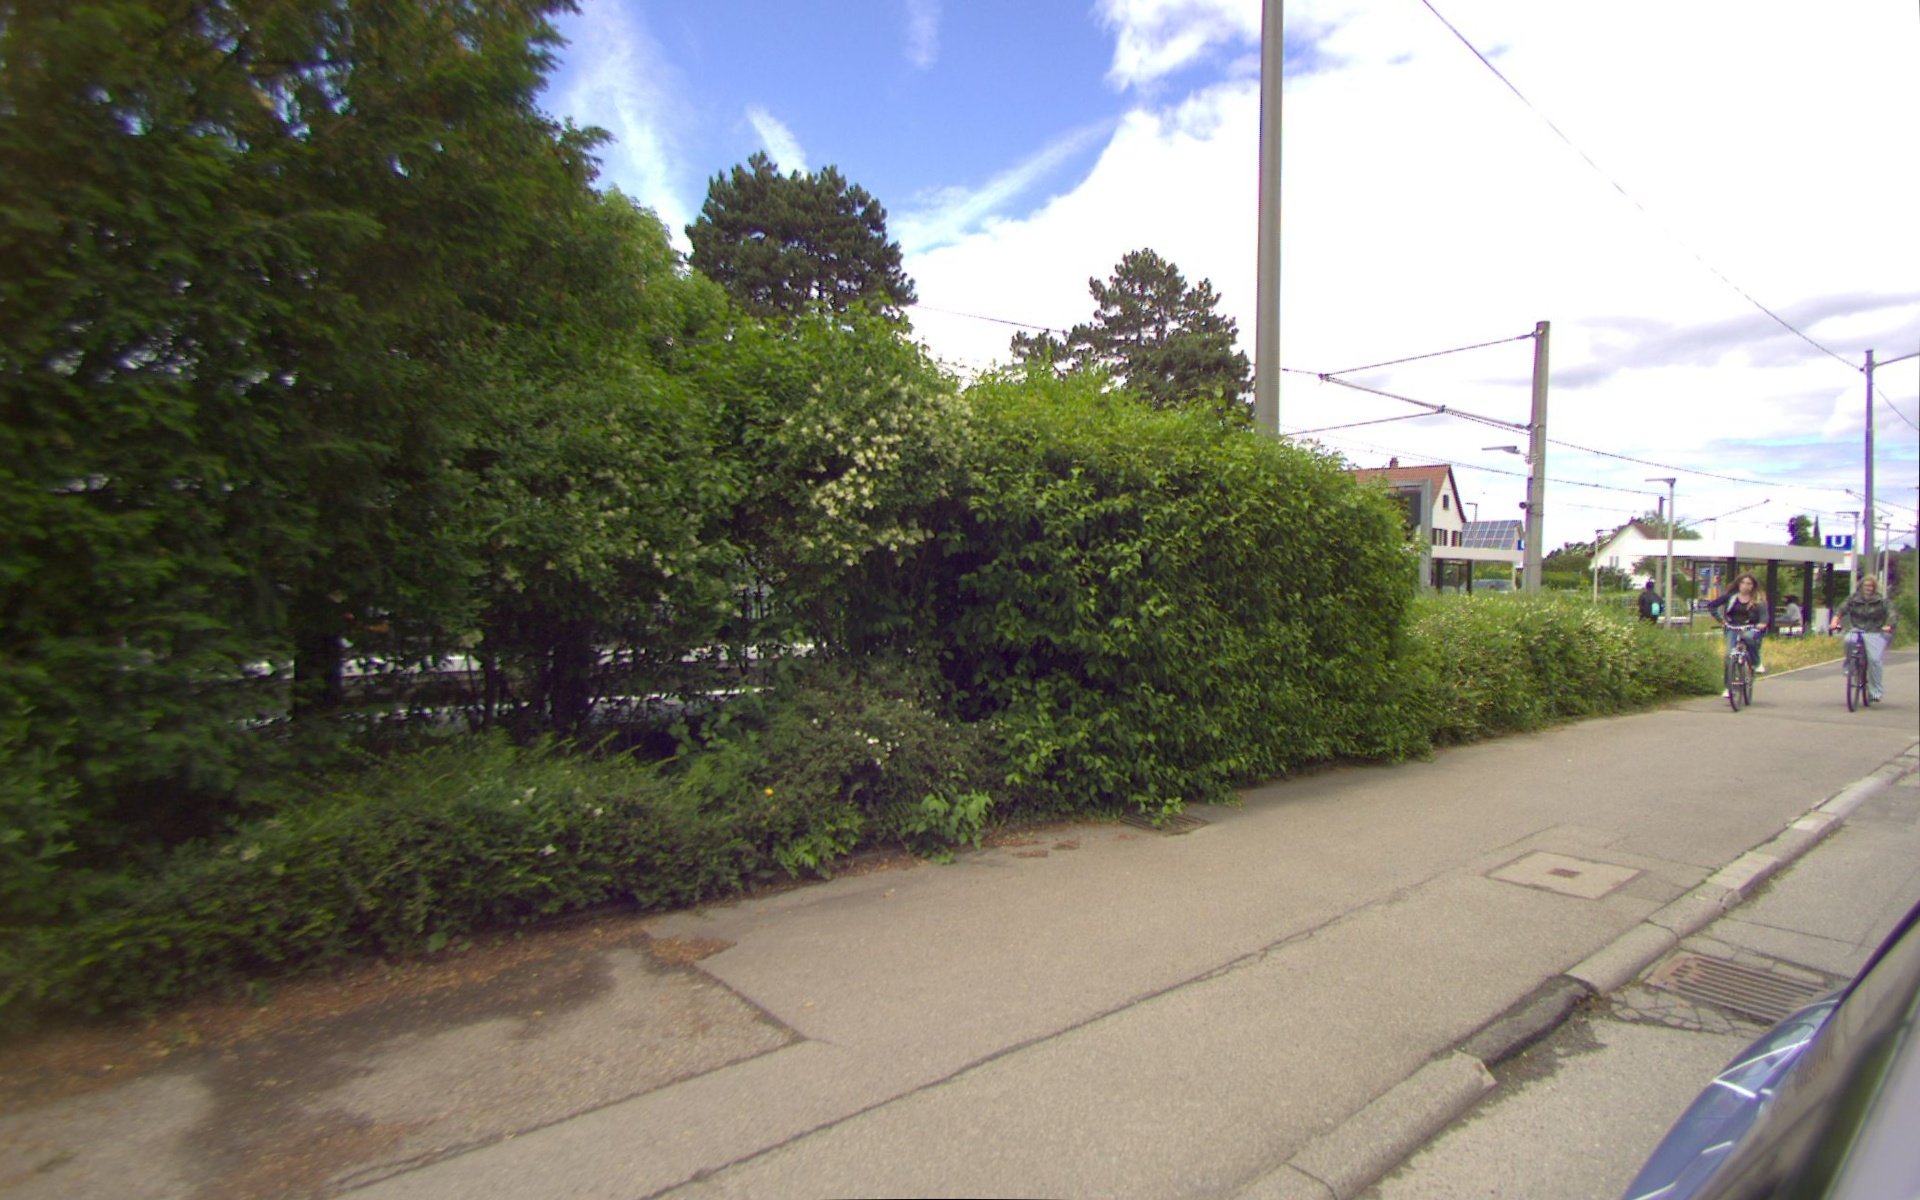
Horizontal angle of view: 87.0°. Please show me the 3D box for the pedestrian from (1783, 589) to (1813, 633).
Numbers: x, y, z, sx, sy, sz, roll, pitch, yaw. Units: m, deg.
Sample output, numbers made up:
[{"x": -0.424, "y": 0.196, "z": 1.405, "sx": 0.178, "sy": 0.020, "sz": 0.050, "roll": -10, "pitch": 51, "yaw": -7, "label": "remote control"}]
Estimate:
[{"x": 25.029, "y": 0.313, "z": 30.240, "sx": 0.572, "sy": 1.295, "sz": 0.588, "roll": 0, "pitch": 0, "yaw": -38, "label": "pedestrian"}]

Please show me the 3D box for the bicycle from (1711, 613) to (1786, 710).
[{"x": 10.580, "y": 0.780, "z": 13.553, "sx": 2.171, "sy": 1.164, "sz": 0.450, "roll": -1, "pitch": 1, "yaw": -43, "label": "bicycle"}]

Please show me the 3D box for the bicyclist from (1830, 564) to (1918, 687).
[{"x": 12.174, "y": 0.319, "z": 13.481, "sx": 0.848, "sy": 1.558, "sz": 0.825, "roll": 0, "pitch": 0, "yaw": -45, "label": "bicyclist"}]

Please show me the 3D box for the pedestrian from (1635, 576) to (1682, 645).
[{"x": 16.821, "y": 0.237, "z": 24.392, "sx": 0.718, "sy": 1.638, "sz": 0.703, "roll": 0, "pitch": 0, "yaw": 15, "label": "pedestrian"}]

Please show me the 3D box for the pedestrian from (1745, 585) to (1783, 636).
[{"x": 23.181, "y": 0.297, "z": 29.185, "sx": 0.631, "sy": 1.438, "sz": 0.720, "roll": 0, "pitch": 0, "yaw": -38, "label": "pedestrian"}]

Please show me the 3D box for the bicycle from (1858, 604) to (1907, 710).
[{"x": 12.360, "y": 0.712, "z": 13.546, "sx": 0.450, "sy": 1.301, "sz": 2.173, "roll": 0, "pitch": 0, "yaw": 43, "label": "bicycle"}]

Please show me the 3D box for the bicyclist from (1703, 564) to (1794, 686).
[{"x": 10.600, "y": 0.312, "z": 13.606, "sx": 0.847, "sy": 1.557, "sz": 0.825, "roll": 0, "pitch": 1, "yaw": -43, "label": "bicyclist"}]
